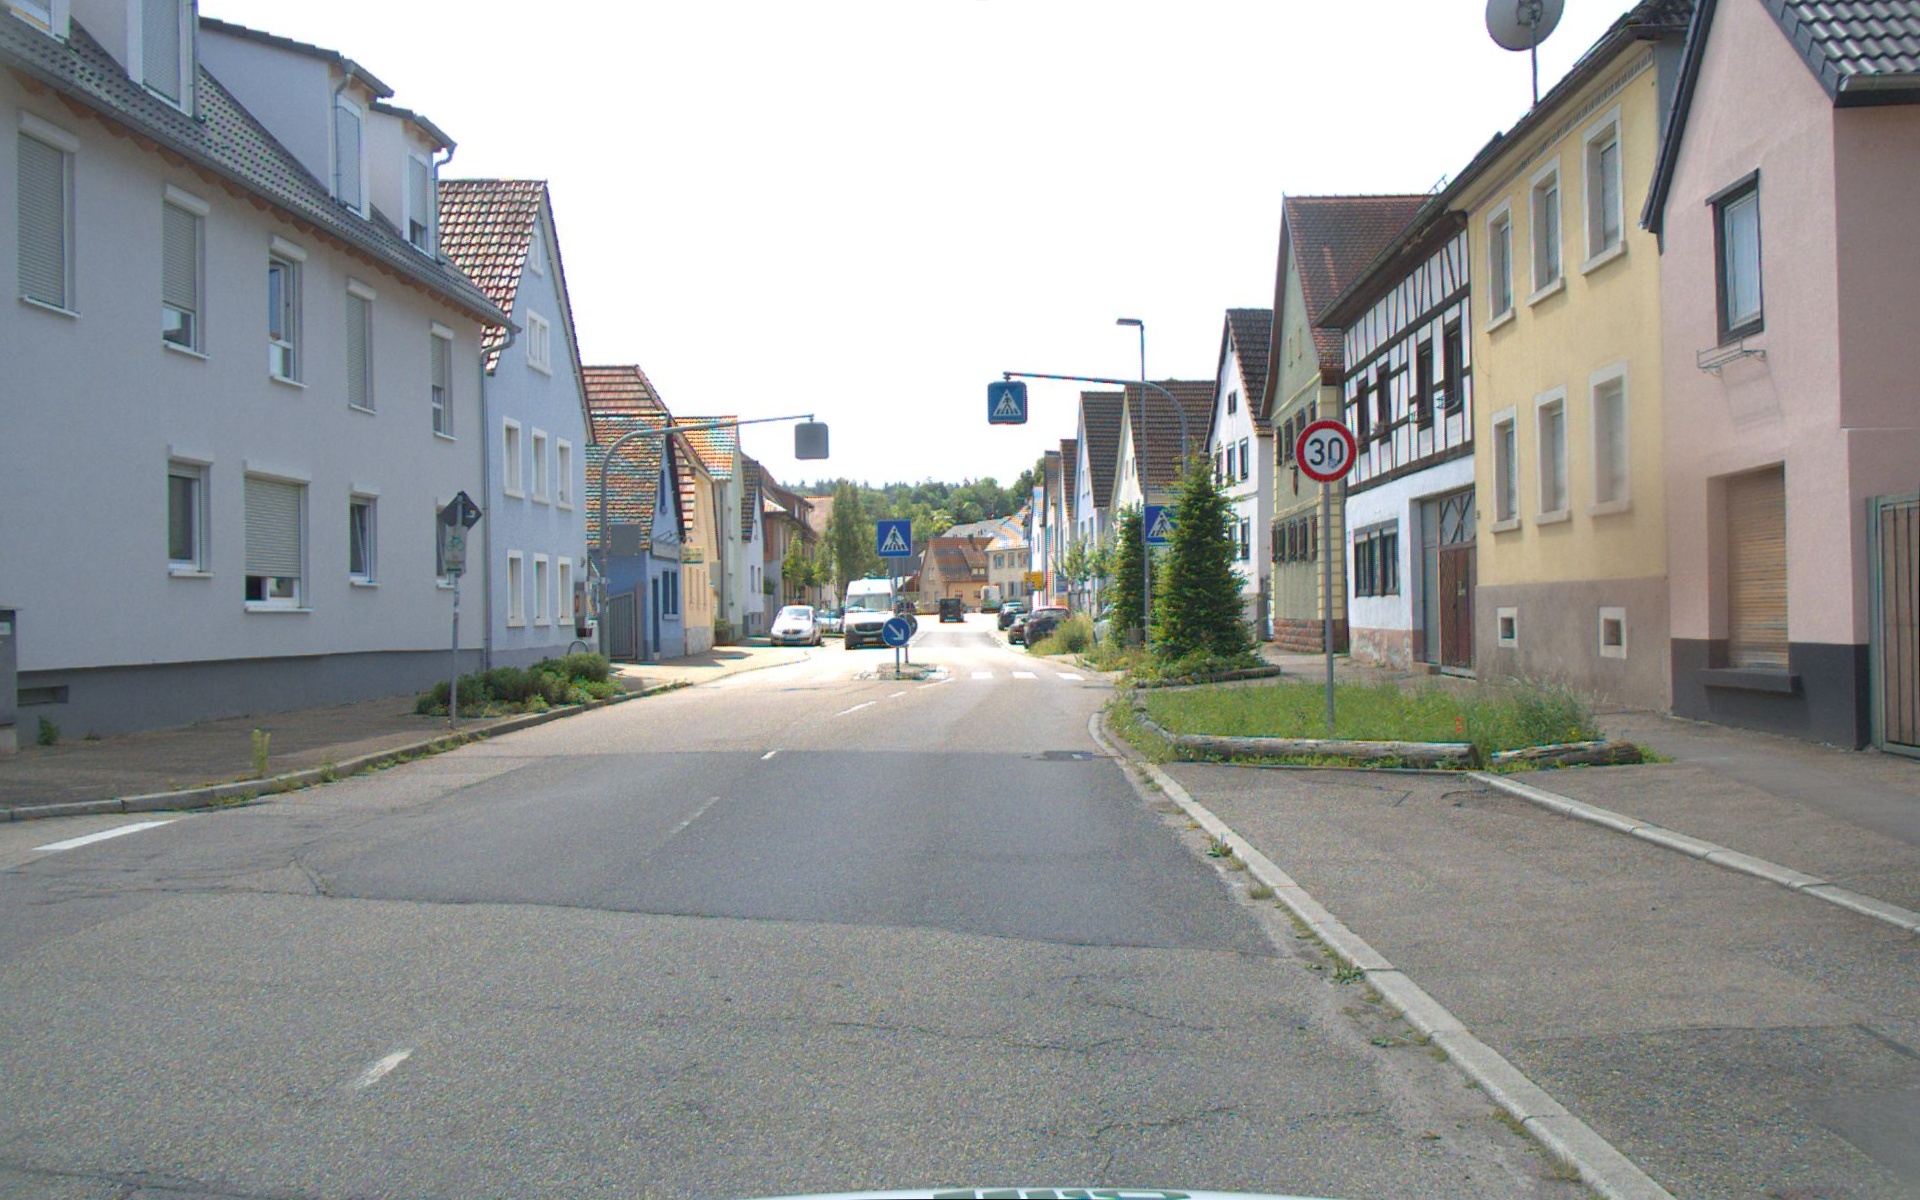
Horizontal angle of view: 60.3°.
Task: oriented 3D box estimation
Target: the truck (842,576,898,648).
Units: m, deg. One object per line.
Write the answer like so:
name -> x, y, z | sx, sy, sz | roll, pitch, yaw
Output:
truck -> -3.425, 0.523, 63.988 | 1.953, 2.581, 6.736 | 0, -2, -2

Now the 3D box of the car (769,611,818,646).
car -> -6.813, 1.181, 67.639 | 1.955, 1.344, 3.703 | 0, -2, -6

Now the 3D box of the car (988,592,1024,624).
car -> 2.765, 0.501, 100.671 | 1.953, 1.848, 3.998 | 0, -2, -2

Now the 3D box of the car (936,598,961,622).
car -> -0.957, 0.844, 134.239 | 1.953, 1.848, 3.998 | 0, -2, -2

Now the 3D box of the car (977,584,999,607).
car -> 2.694, -0.448, 159.580 | 1.953, 2.049, 3.998 | 0, -2, -1

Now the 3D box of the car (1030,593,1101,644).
car -> 3.346, 0.617, 52.964 | 1.953, 1.535, 3.998 | 0, -2, -1

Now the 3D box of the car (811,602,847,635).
car -> -6.956, 0.989, 87.911 | 1.633, 1.624, 3.998 | 0, -2, -1

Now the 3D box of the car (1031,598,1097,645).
car -> 3.558, 0.774, 57.133 | 1.953, 1.535, 3.998 | 0, -2, -1
